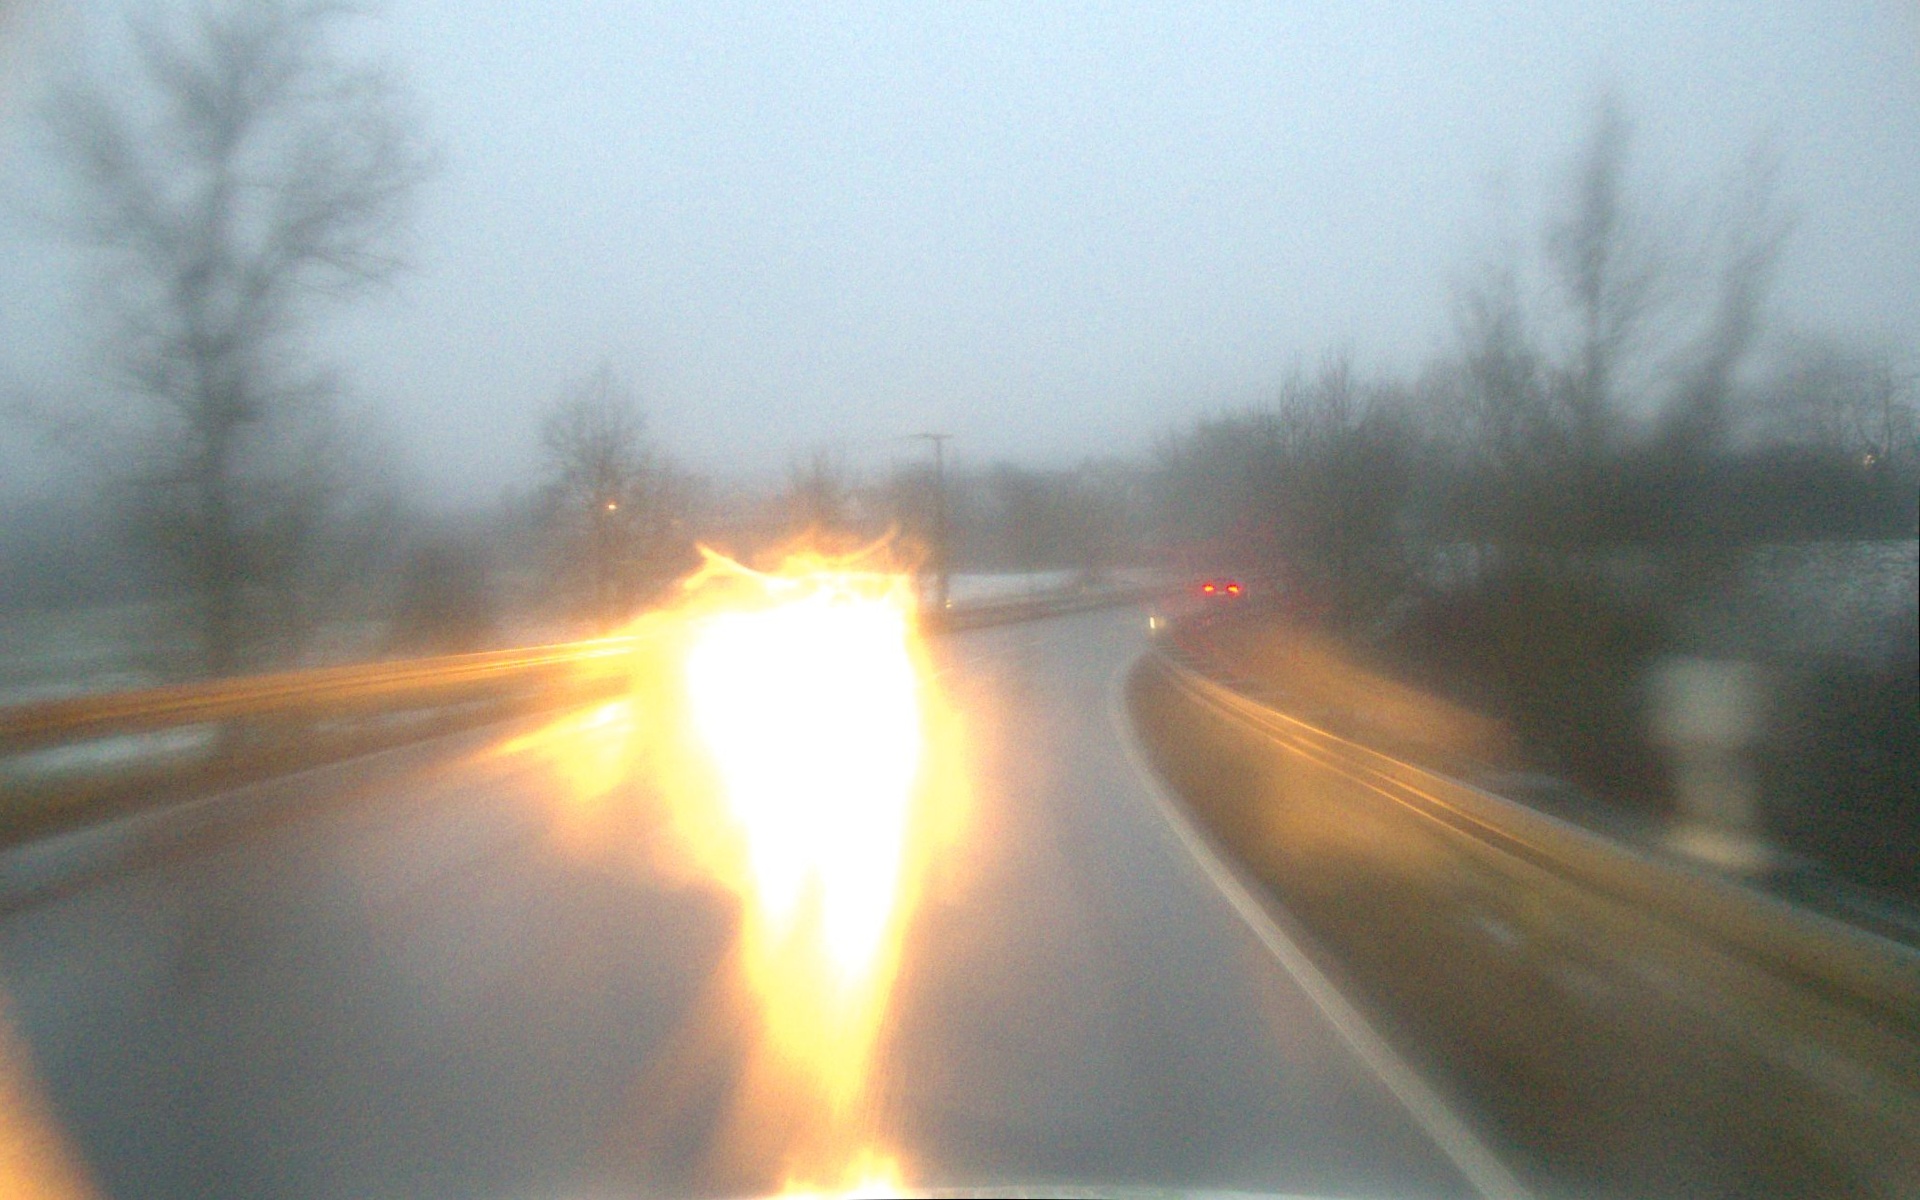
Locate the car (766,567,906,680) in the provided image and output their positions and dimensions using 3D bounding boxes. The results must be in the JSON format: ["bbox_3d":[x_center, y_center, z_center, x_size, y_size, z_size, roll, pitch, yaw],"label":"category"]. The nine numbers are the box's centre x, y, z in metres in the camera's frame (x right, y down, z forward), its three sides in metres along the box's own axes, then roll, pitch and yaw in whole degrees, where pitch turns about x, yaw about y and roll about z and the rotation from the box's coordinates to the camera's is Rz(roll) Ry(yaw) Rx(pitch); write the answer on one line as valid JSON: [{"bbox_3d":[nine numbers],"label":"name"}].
[{"bbox_3d":[-2.176,0.366,30.430,1.843,1.896,5.009,0,1,4],"label":"car"}]

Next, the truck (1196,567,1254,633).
[{"bbox_3d":[13.504,-0.042,84.016,2.478,2.918,5.929,-1,3,13],"label":"truck"}]
